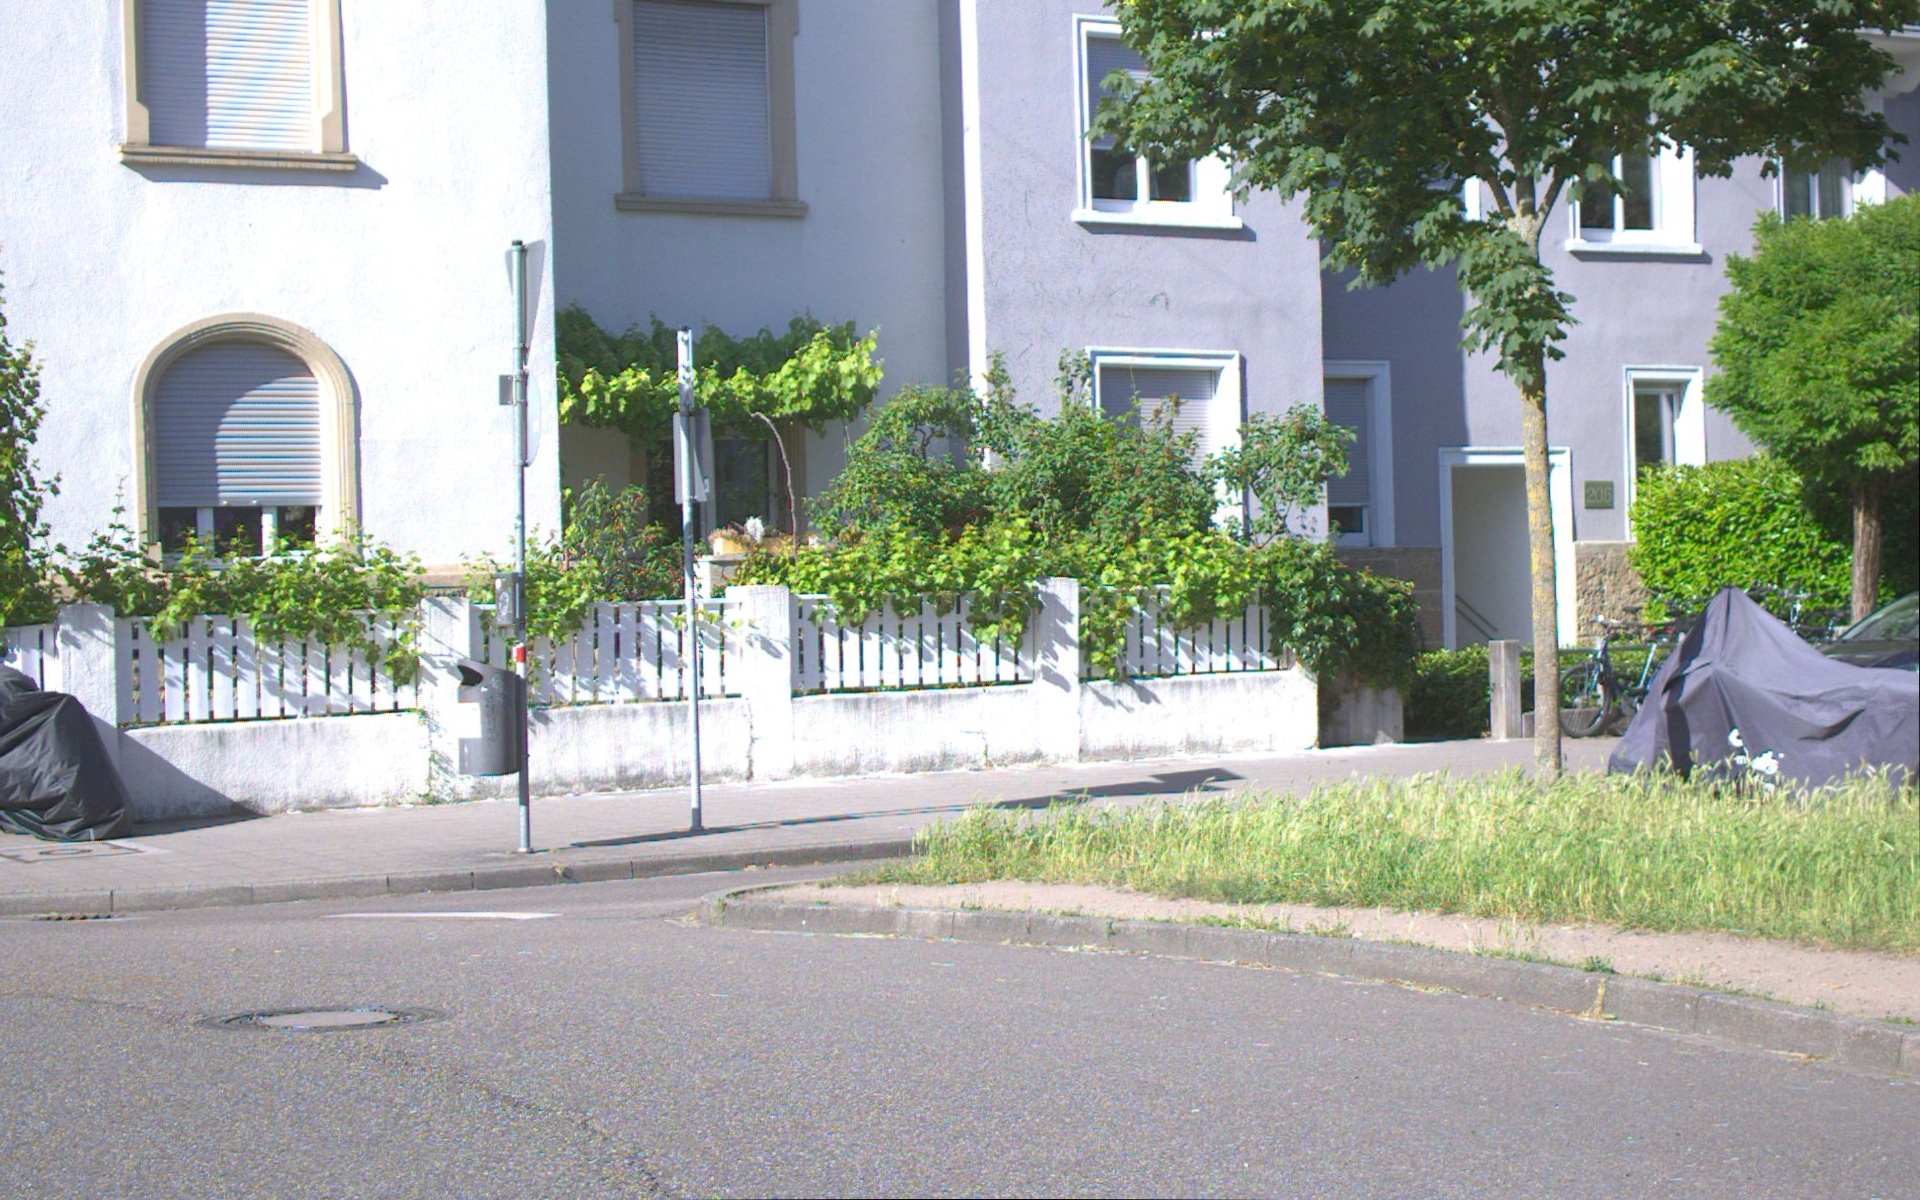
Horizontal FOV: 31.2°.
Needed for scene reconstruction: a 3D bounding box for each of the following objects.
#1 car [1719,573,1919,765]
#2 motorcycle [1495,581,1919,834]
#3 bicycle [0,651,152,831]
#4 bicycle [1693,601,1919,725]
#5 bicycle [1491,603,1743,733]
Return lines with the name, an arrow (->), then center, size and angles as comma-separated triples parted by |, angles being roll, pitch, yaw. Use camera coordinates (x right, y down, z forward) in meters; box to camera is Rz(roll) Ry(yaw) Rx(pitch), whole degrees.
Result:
car -> 8.194, 0.501, 27.747 | 3.943, 1.440, 1.753 | -2, -1, -34
motorcycle -> 4.341, 0.551, 18.751 | 1.123, 1.263, 2.783 | -2, 0, -37
bicycle -> -6.604, 0.935, 22.850 | 2.280, 1.153, 0.766 | -1, 0, 12
bicycle -> 7.909, 0.574, 31.870 | 2.249, 1.056, 0.683 | -2, 0, -29
bicycle -> 5.843, 0.594, 30.516 | 2.249, 1.056, 0.683 | -2, 0, -29
